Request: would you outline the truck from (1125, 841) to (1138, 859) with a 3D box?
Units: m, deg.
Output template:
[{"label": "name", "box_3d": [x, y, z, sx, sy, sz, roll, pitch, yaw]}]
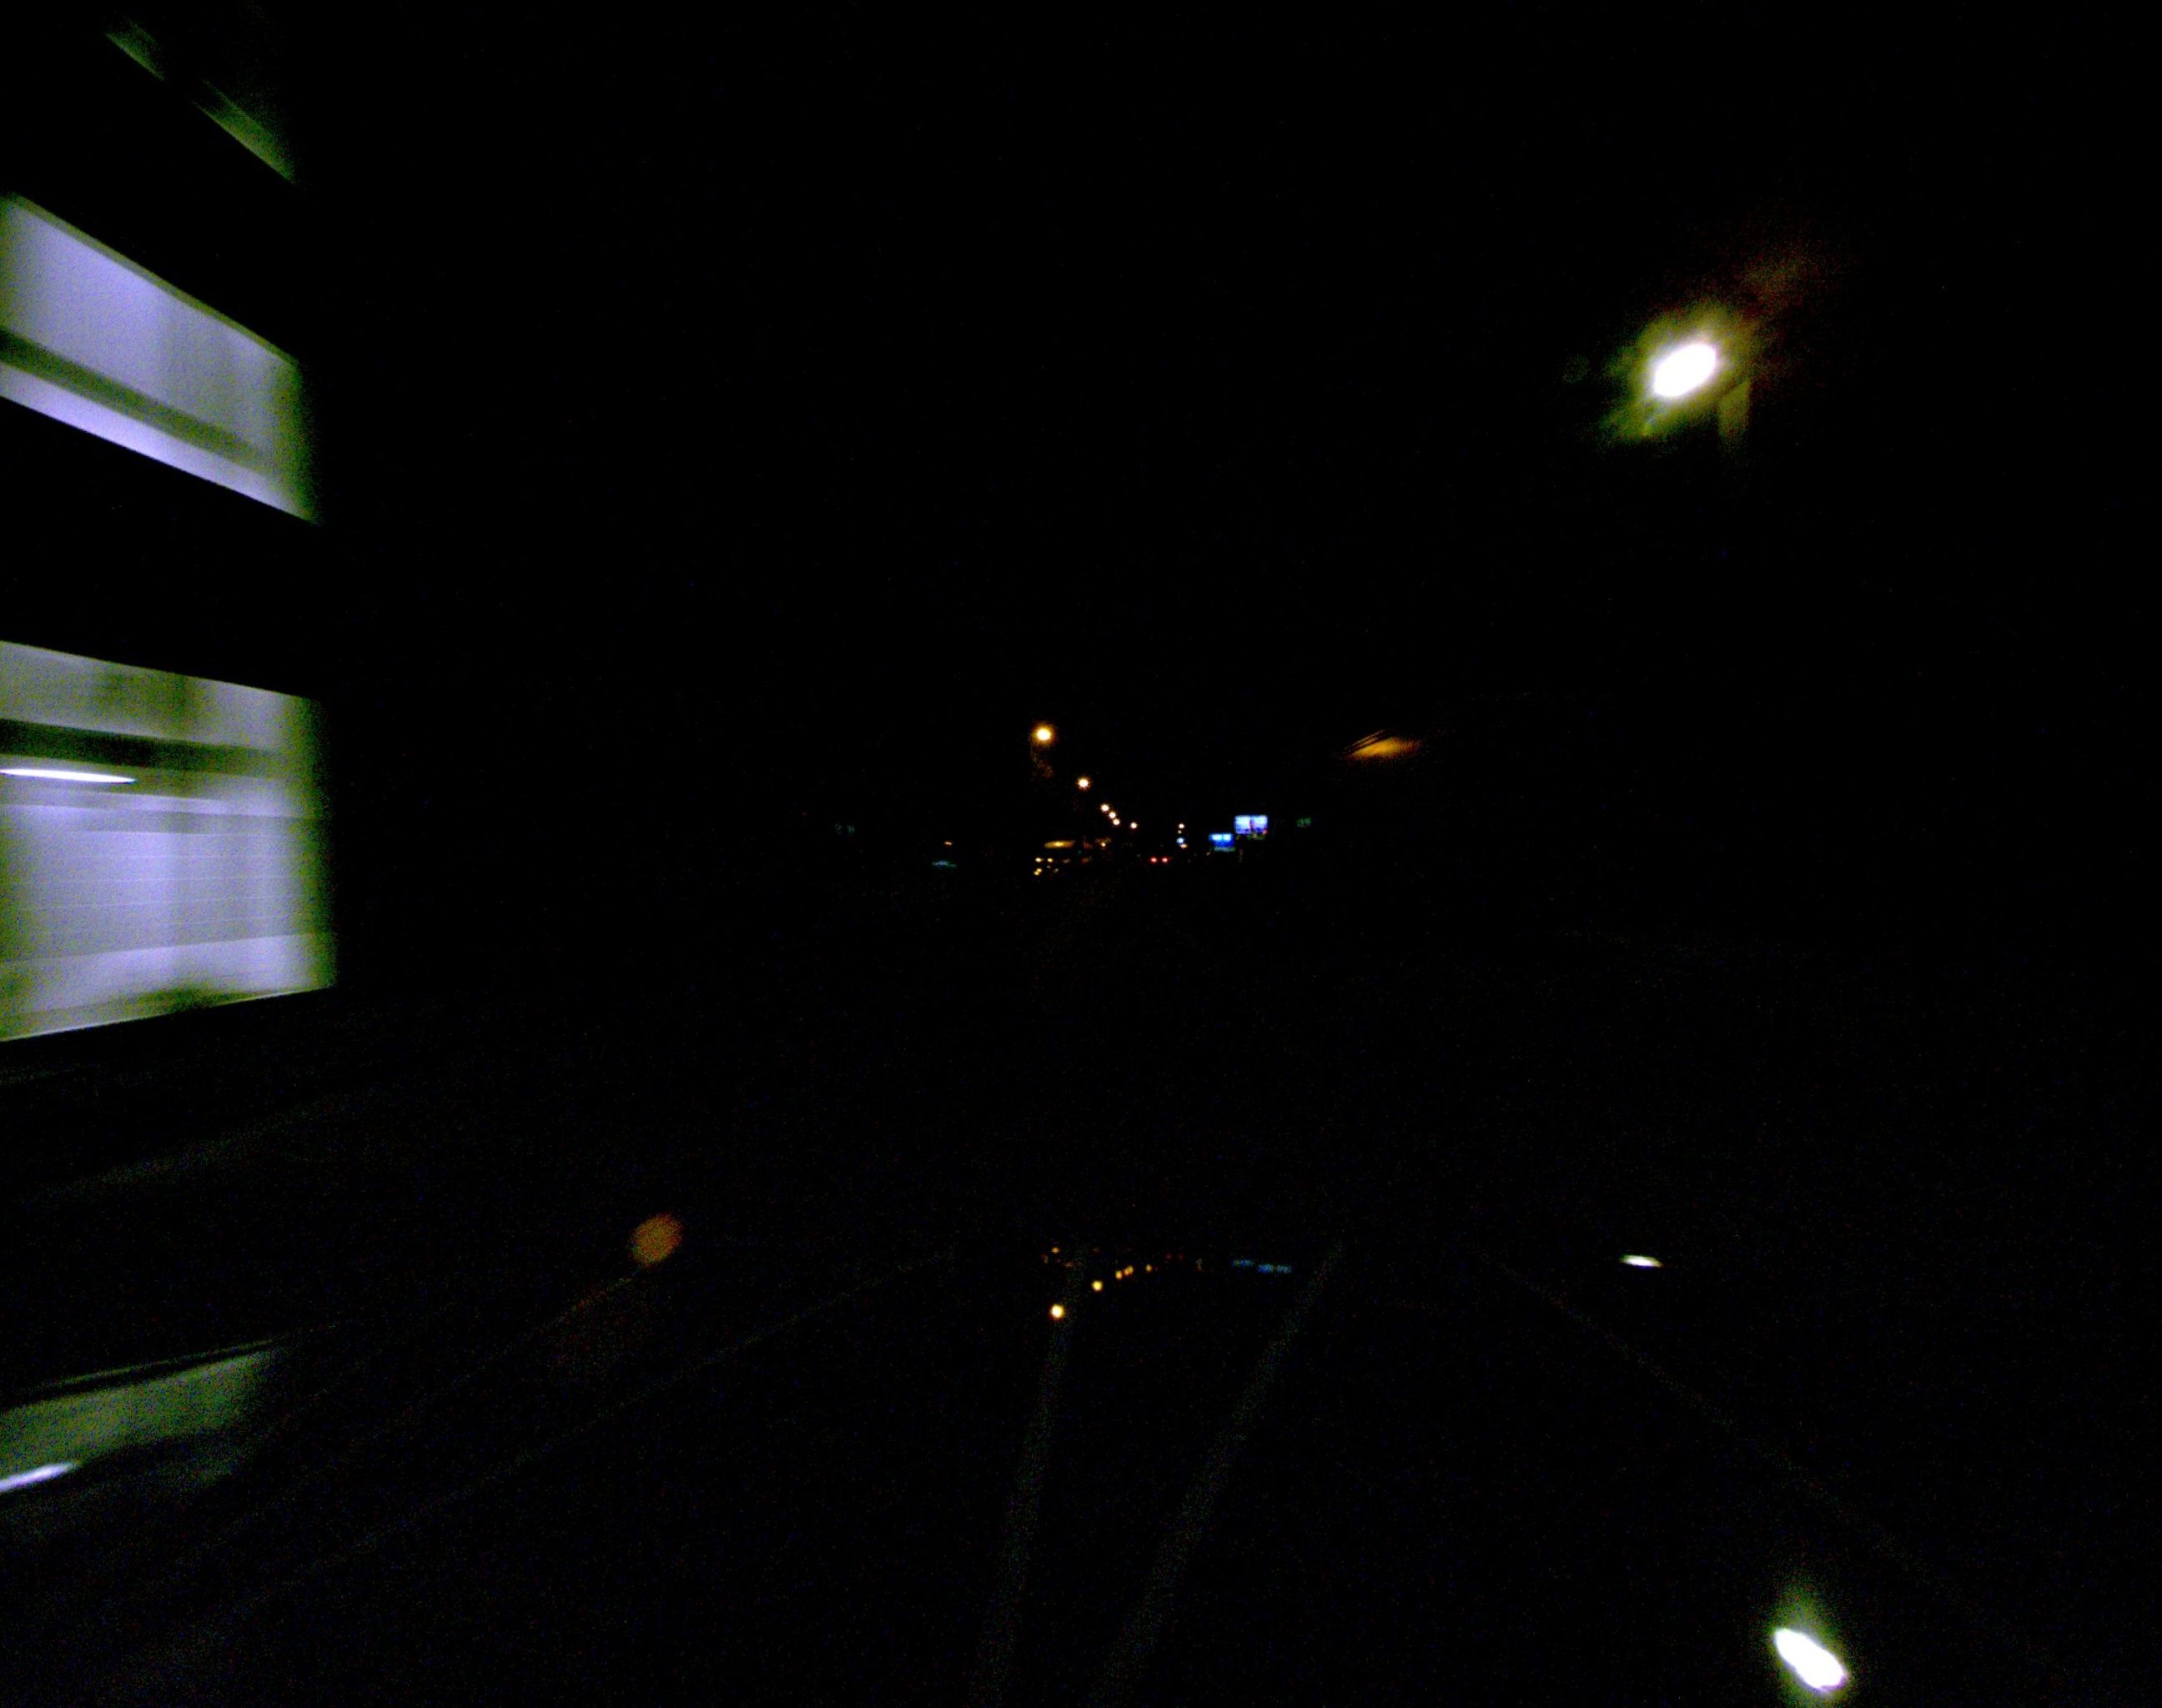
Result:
[{"label": "truck", "box_3d": [12.388, -0.877, 184.580, 2.659, 3.851, 10.236, -2, -1, 5]}]

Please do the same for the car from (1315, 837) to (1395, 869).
[{"label": "car", "box_3d": [15.772, -0.062, 43.719, 4.133, 1.423, 1.899, -6, -1, 23]}]

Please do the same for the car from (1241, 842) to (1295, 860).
[{"label": "car", "box_3d": [17.487, -0.309, 71.089, 4.677, 1.542, 1.996, -1, 1, -24]}]

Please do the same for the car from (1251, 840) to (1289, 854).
[{"label": "car", "box_3d": [23.678, -0.874, 95.360, 4.409, 1.644, 1.923, -1, 1, 7]}]

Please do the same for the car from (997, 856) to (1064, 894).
[{"label": "car", "box_3d": [-2.098, 0.865, 33.221, 1.950, 1.480, 5.013, -1, 0, 7]}]

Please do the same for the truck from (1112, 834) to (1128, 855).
[{"label": "truck", "box_3d": [7.986, -1.874, 153.135, 2.796, 3.947, 9.824, -2, 0, 5]}]

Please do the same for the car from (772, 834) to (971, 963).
[{"label": "car", "box_3d": [-3.626, 0.675, 14.278, 1.998, 2.002, 4.913, -1, 1, 5]}]

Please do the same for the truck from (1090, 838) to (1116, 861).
[{"label": "truck", "box_3d": [2.614, -0.534, 88.862, 2.406, 2.579, 6.600, -1, 0, 7]}]

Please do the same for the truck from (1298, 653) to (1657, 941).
[{"label": "truck", "box_3d": [6.983, -0.836, 15.557, 2.752, 4.011, 9.561, -1, 1, 3]}]

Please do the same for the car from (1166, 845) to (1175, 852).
[{"label": "car", "box_3d": [19.446, -1.176, 164.831, 1.690, 1.357, 3.880, -2, 1, 5]}]

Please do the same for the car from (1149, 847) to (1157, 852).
[{"label": "car", "box_3d": [18.789, -1.185, 198.158, 1.824, 1.429, 4.399, -1, 0, 5]}]

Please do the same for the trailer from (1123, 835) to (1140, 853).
[{"label": "trailer", "box_3d": [13.634, -2.625, 203.334, 3.071, 4.449, 13.418, -2, 1, 9]}]

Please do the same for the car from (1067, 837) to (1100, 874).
[{"label": "car", "box_3d": [0.251, 0.115, 59.040, 2.133, 2.556, 5.910, -4, 0, 2]}]

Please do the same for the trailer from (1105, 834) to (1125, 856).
[{"label": "trailer", "box_3d": [5.604, -1.447, 124.474, 2.884, 3.504, 8.286, -1, 0, 5]}]

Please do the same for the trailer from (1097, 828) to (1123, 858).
[{"label": "trailer", "box_3d": [4.171, -1.554, 105.979, 2.771, 3.742, 14.659, -2, 1, 5]}]

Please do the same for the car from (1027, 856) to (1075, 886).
[{"label": "car", "box_3d": [-1.504, 0.851, 39.689, 1.773, 1.404, 4.552, -1, 0, 7]}]

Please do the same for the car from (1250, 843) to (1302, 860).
[{"label": "car", "box_3d": [17.525, -0.266, 68.287, 4.420, 1.432, 1.790, -1, 1, -24]}]

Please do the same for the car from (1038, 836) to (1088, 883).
[{"label": "car", "box_3d": [-0.971, 0.278, 45.598, 1.997, 2.511, 5.912, -4, 0, 7]}]

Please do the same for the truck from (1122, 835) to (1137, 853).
[{"label": "truck", "box_3d": [12.566, -2.490, 196.681, 3.071, 4.449, 5.637, -2, 1, 9]}]

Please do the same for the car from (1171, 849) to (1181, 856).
[{"label": "car", "box_3d": [18.162, -0.325, 145.759, 1.760, 1.382, 4.310, -1, 0, 6]}]

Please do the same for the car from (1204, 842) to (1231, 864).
[{"label": "car", "box_3d": [12.034, -0.078, 67.332, 1.817, 1.838, 4.415, -1, 1, 4]}]

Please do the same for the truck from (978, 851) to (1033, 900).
[{"label": "truck", "box_3d": [-2.756, 0.743, 28.406, 1.373, 1.635, 3.813, -1, 1, 4]}]

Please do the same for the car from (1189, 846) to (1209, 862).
[{"label": "car", "box_3d": [12.755, -0.040, 82.304, 1.951, 1.678, 4.818, -1, 0, 7]}]

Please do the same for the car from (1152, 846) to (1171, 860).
[{"label": "car", "box_3d": [8.721, -0.155, 82.836, 1.861, 1.412, 4.001, -1, 1, 4]}]

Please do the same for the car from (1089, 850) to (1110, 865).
[{"label": "car", "box_3d": [2.005, 0.334, 81.595, 1.834, 1.399, 4.910, -4, 0, 5]}]

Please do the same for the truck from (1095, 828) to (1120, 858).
[{"label": "truck", "box_3d": [3.516, -1.418, 98.993, 2.771, 3.742, 5.229, -2, 1, 5]}]

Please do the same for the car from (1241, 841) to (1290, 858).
[{"label": "car", "box_3d": [18.546, -0.441, 76.584, 4.418, 1.551, 1.996, -1, 1, -19]}]

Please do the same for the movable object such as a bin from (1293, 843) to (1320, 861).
[{"label": "movable object such as a bin", "box_3d": [18.972, -0.174, 63.994, 1.861, 1.491, 1.610, -2, 1, 5]}]

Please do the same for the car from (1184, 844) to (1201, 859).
[{"label": "car", "box_3d": [13.652, -0.347, 93.144, 1.808, 1.788, 4.879, -1, 0, 5]}]

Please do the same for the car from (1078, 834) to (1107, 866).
[{"label": "car", "box_3d": [1.097, -0.388, 66.919, 1.998, 2.556, 6.016, -4, 0, 5]}]
